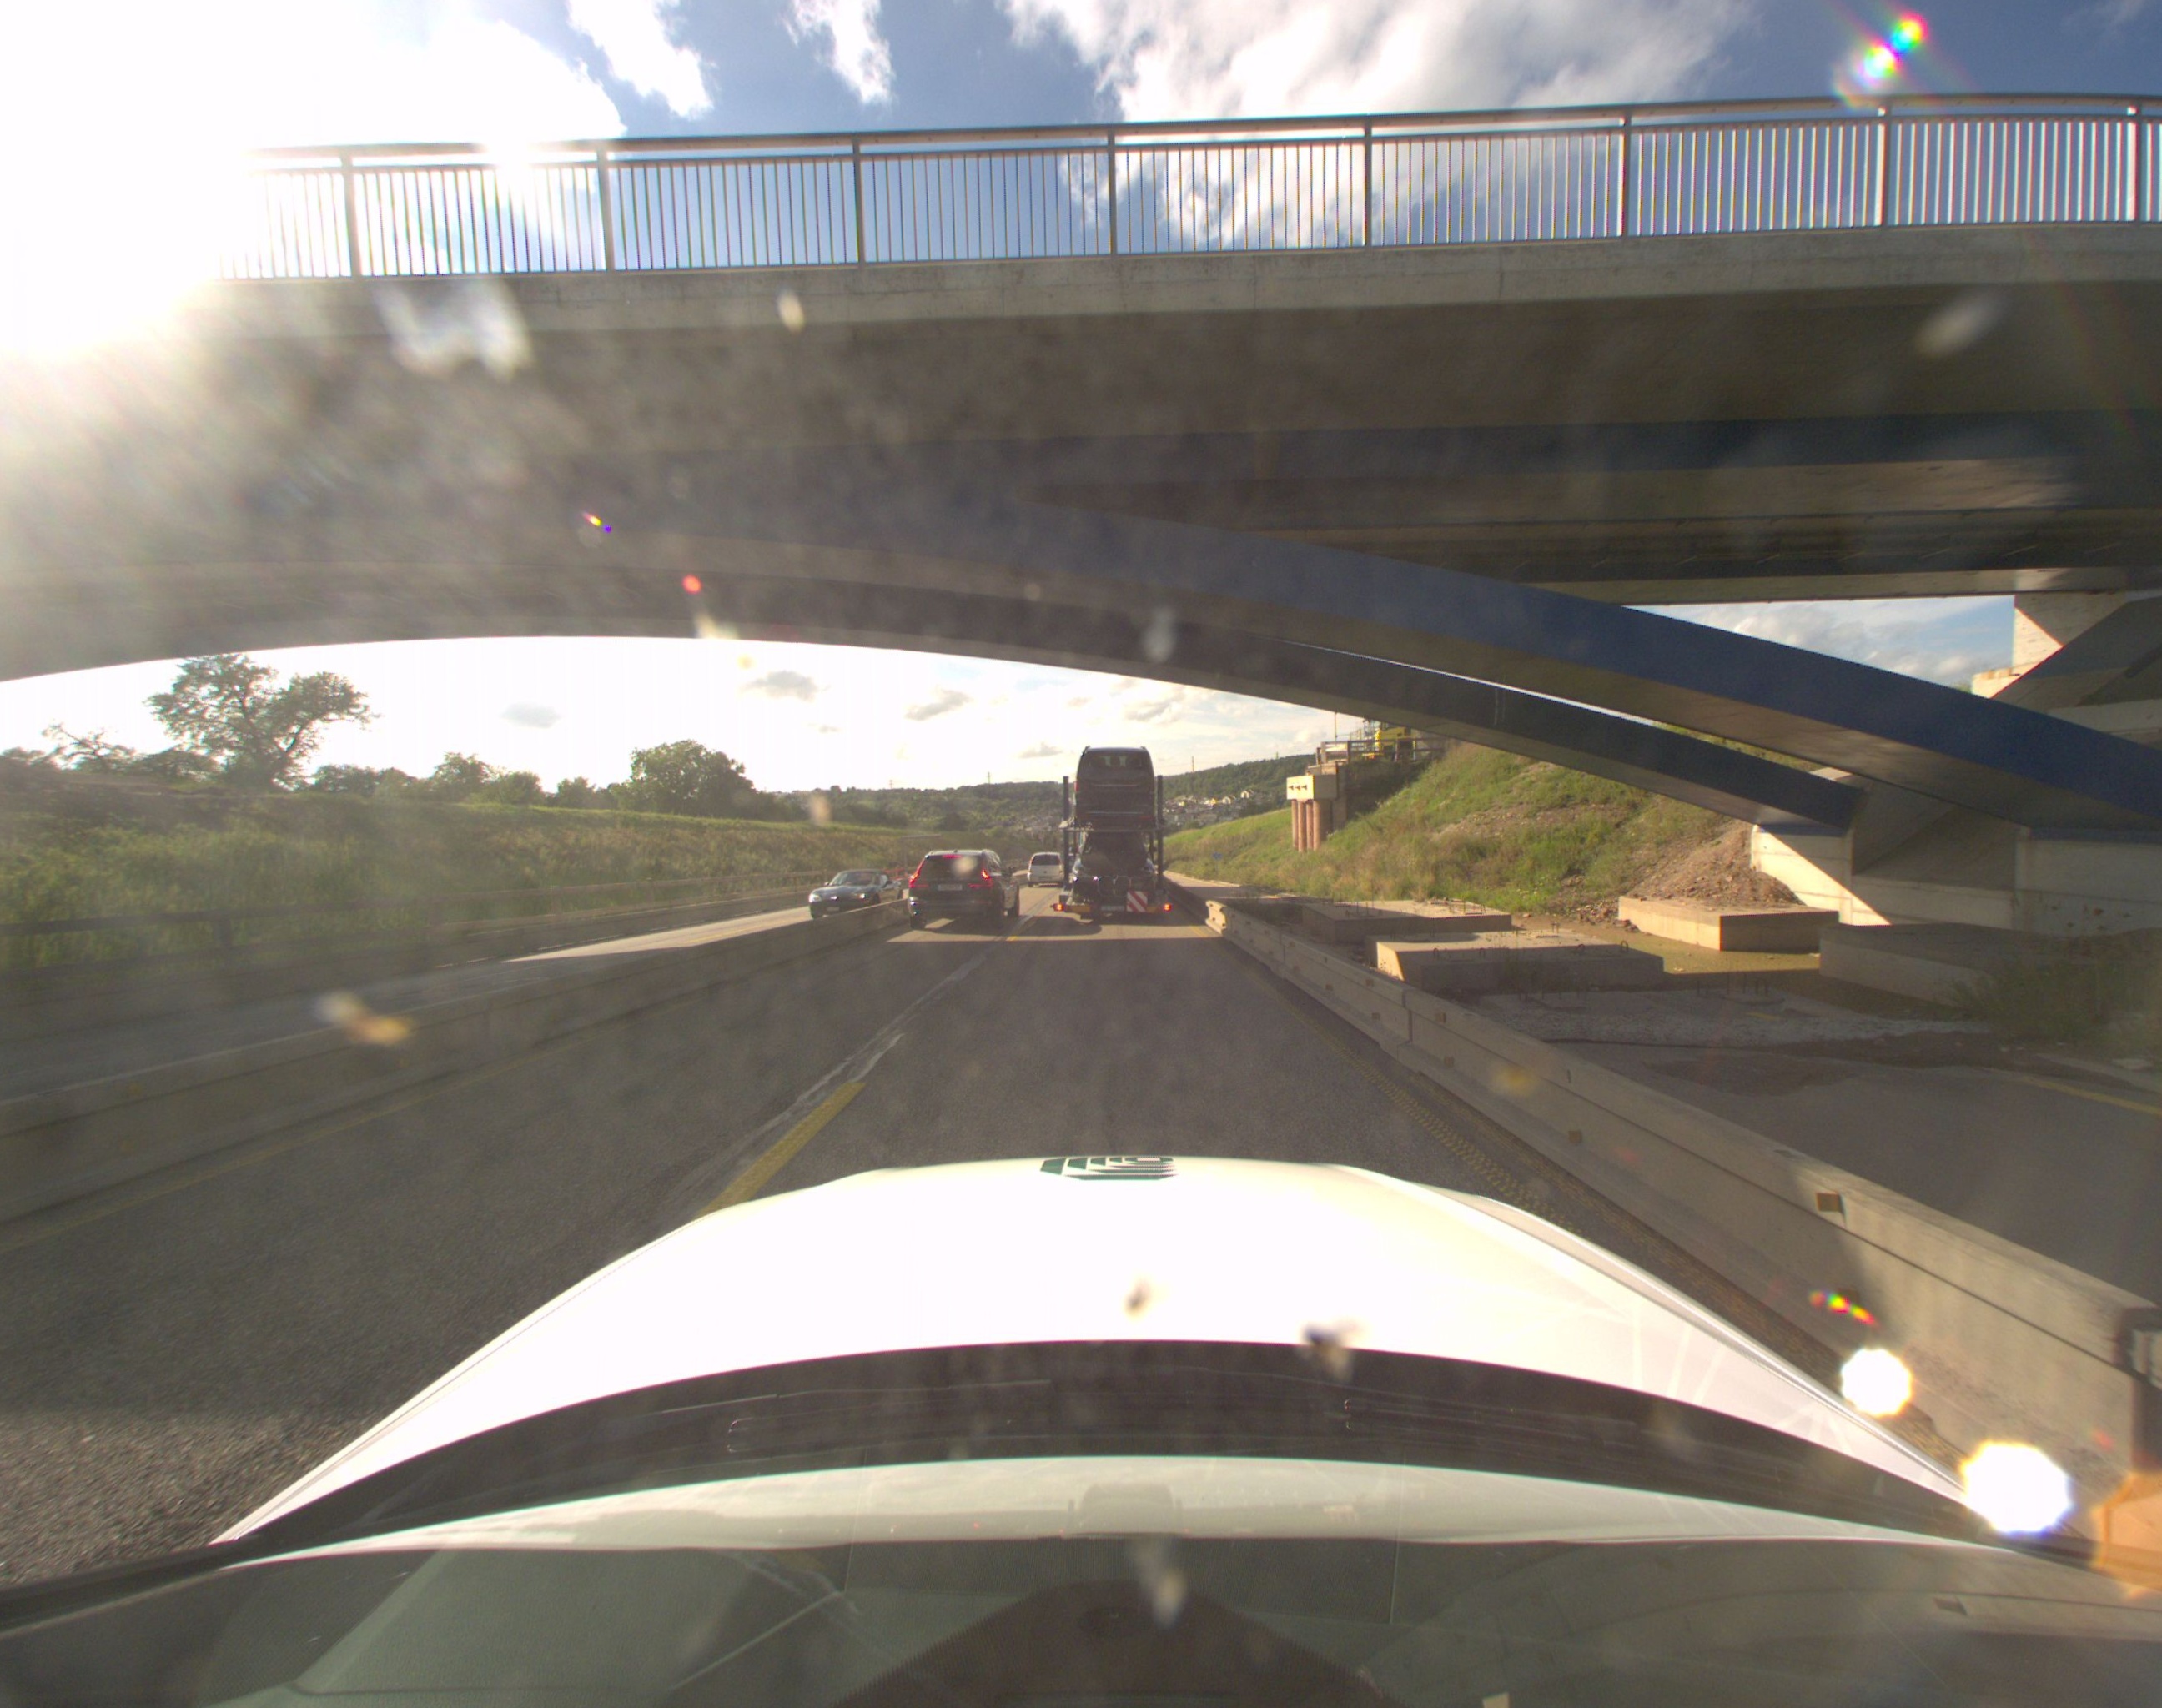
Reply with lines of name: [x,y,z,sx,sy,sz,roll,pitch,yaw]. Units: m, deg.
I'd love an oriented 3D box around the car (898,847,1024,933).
car: [-2.505,0.688,18.266,1.986,1.625,4.751,-1,0,1]

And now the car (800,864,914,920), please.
car: [-5.813,0.935,21.654,1.662,1.155,4.220,-4,0,2]

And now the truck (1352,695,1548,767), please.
truck: [19.769,-6.571,44.058,9.230,3.228,2.960,-1,0,1]

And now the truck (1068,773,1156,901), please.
truck: [1.134,-0.536,28.423,2.667,3.922,6.032,-1,0,3]

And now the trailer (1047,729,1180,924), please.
trailer: [0.903,-0.568,22.742,2.697,4.029,11.425,-1,0,2]

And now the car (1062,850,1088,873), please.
car: [-0.422,0.527,59.511,1.790,1.530,4.295,-2,0,1]

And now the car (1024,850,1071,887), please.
car: [-1.531,0.650,38.873,1.789,1.596,4.746,-1,0,3]
